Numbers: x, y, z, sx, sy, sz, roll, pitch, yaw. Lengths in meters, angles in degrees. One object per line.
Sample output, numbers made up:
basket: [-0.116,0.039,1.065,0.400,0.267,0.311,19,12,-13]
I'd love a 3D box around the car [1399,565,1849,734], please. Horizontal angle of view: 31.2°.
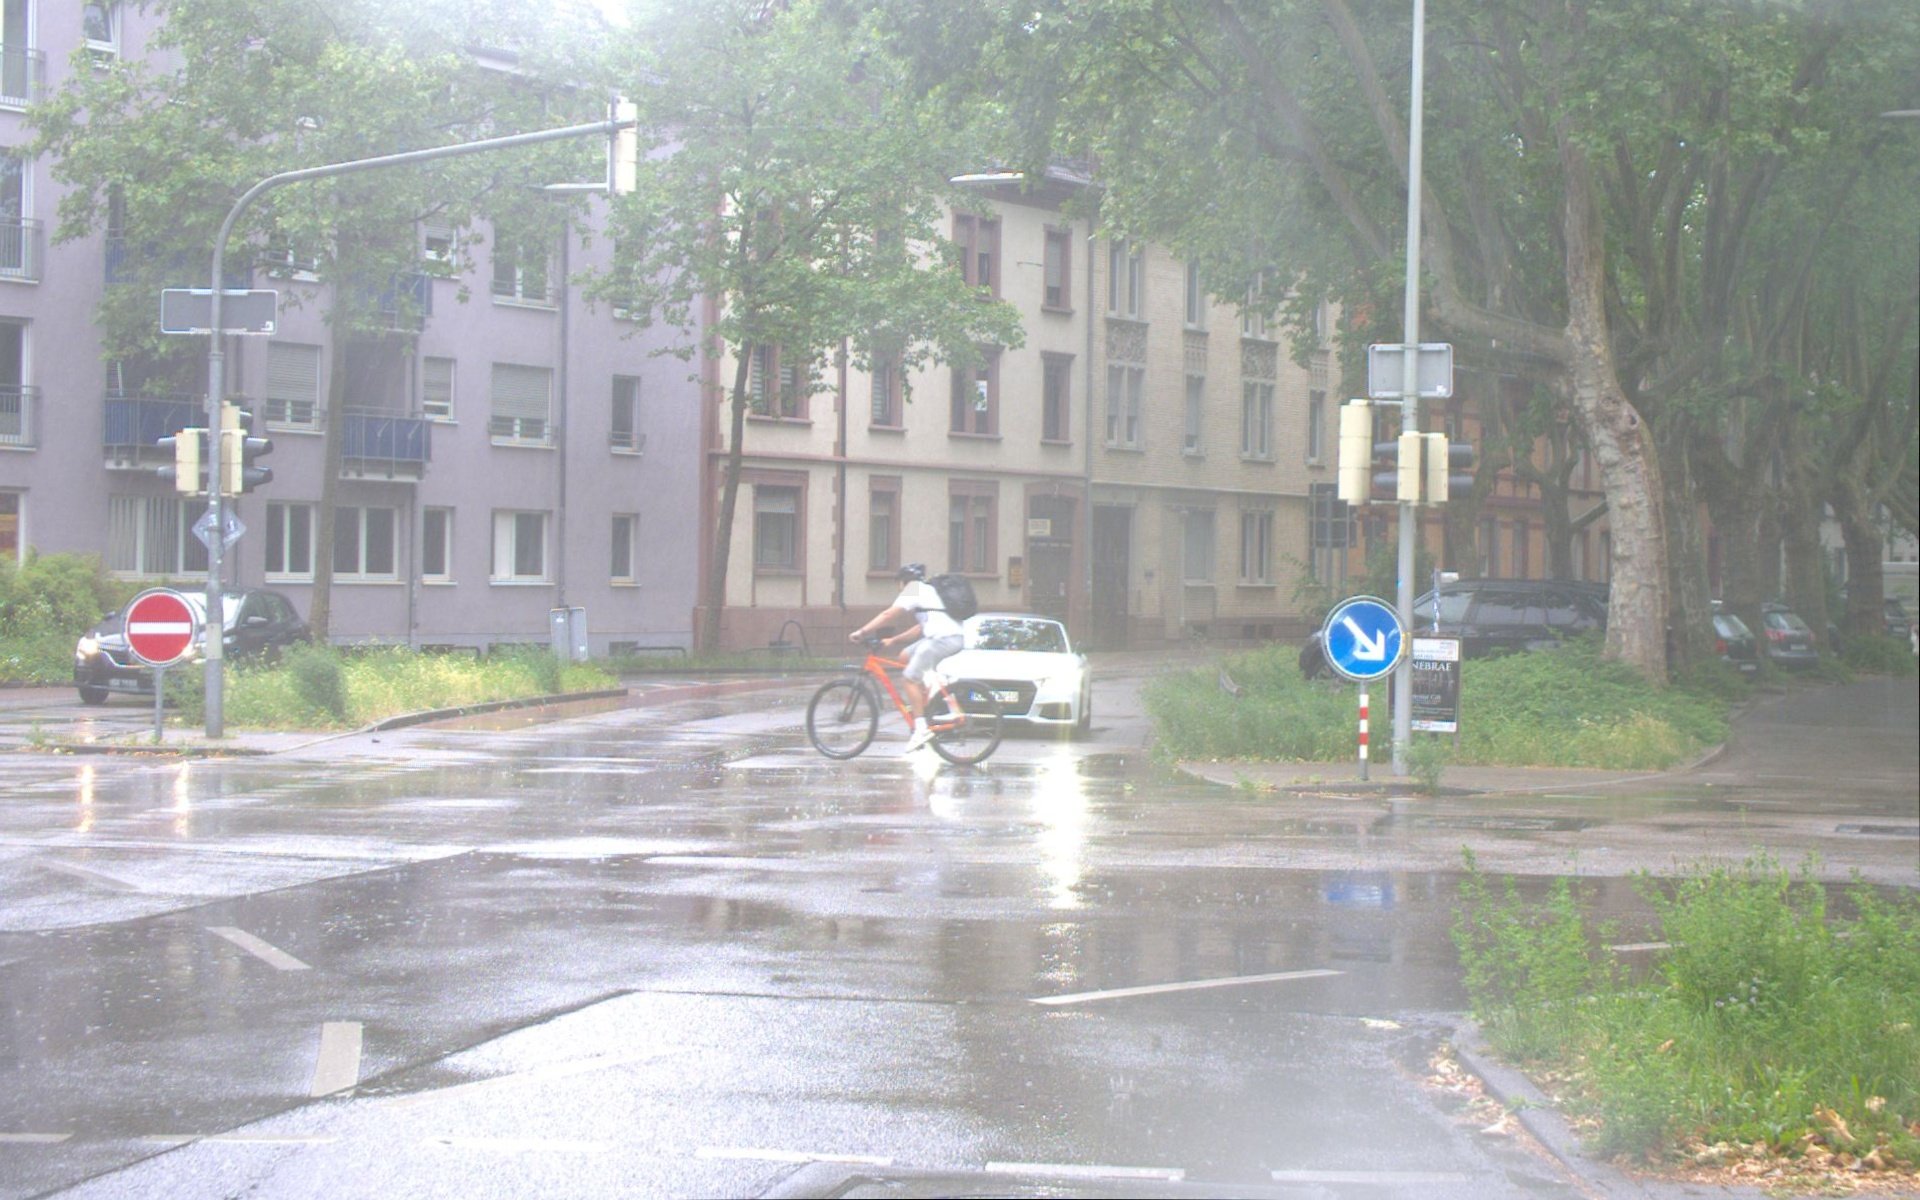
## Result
car: [6.211,0.440,32.167,3.989,1.481,1.999,1,0,12]

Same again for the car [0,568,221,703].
car: [-10.061,0.388,40.961,1.751,1.506,3.839,1,0,-2]

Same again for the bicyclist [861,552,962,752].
bicyclist: [-0.433,0.465,31.084,0.795,1.780,0.697,1,0,7]

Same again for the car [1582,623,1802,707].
car: [13.790,1.208,64.820,3.989,1.481,1.999,1,0,12]

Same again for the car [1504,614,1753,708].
car: [11.157,1.004,57.361,3.989,1.481,1.999,1,0,12]

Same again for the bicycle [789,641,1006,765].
bicycle: [-0.555,0.924,31.089,1.873,1.077,0.657,1,0,8]

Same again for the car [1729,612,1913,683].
car: [19.532,1.070,78.134,3.989,1.542,1.999,1,0,12]

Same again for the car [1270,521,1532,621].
car: [6.846,-0.445,53.225,3.868,1.481,1.715,1,0,12]

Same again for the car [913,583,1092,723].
car: [0.504,0.549,38.567,1.884,1.431,4.000,1,1,1]

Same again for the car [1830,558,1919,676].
car: [24.344,0.428,87.205,2.033,2.938,4.773,1,0,-21]
